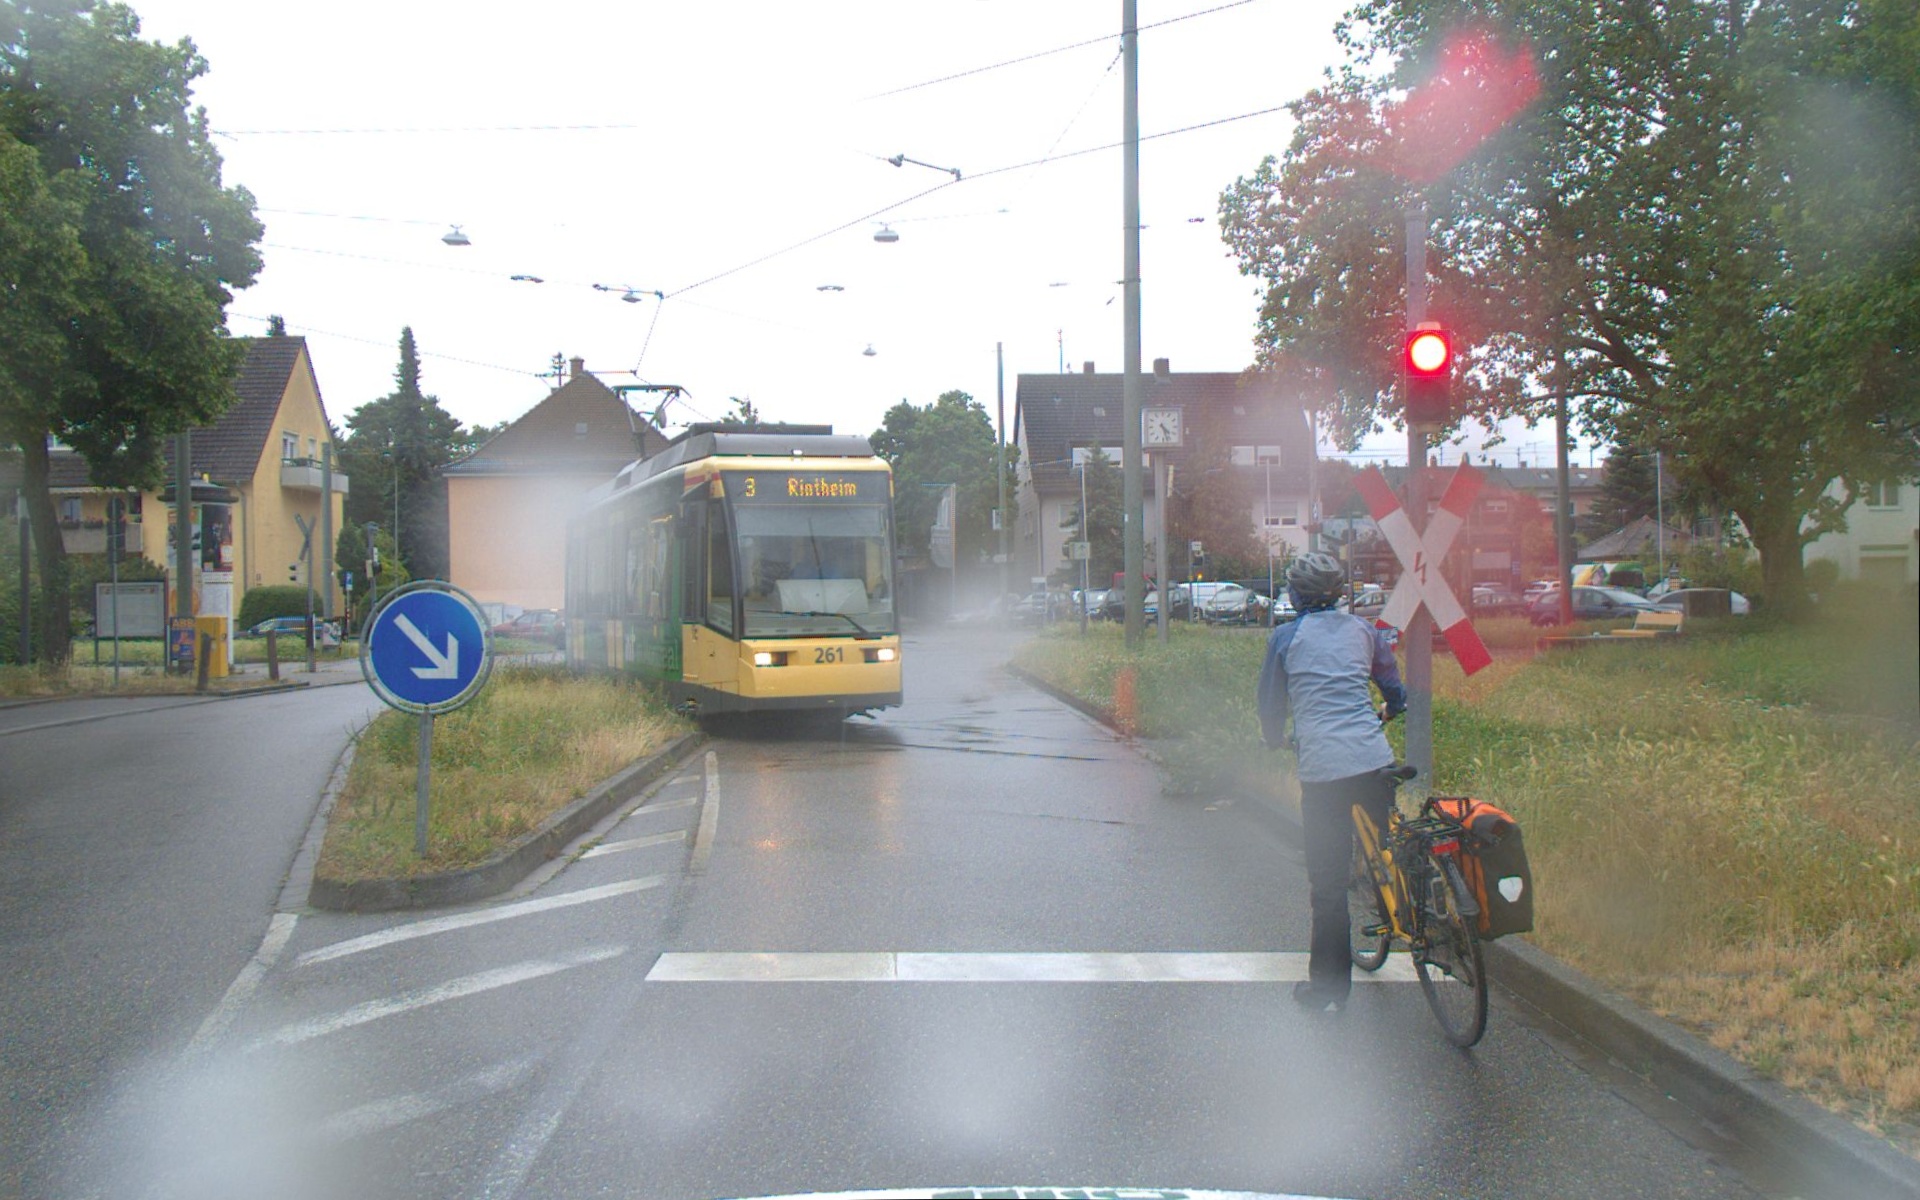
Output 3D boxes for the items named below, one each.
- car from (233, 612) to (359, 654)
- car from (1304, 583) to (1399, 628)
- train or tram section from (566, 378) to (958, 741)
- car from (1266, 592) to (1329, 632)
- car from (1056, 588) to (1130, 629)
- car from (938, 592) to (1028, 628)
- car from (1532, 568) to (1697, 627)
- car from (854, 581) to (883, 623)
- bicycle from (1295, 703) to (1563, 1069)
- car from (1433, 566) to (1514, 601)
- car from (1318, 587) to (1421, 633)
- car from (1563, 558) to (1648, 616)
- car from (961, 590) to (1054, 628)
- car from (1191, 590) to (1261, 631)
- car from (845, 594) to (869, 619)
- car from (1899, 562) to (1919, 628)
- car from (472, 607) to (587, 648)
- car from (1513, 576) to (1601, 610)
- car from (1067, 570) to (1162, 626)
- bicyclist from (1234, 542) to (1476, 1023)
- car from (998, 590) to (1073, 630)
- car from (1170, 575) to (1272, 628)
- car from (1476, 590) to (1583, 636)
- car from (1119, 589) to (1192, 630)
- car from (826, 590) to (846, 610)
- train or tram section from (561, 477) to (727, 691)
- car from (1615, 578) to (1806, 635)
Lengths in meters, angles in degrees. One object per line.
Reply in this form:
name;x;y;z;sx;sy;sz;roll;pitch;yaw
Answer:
car;-24.437;1.212;60.955;3.911;1.482;1.831;1;0;-7
car;18.096;0.237;76.540;3.907;1.985;1.999;1;-1;-3
train or tram section;-3.342;-0.357;22.680;2.719;3.615;12.133;-1;0;-19
car;14.564;0.526;71.176;1.804;1.668;3.997;1;0;24
car;5.805;0.377;71.602;1.954;1.668;3.997;1;0;24
car;1.130;0.484;79.934;3.956;1.672;1.974;1;-1;-37
car;17.924;-0.069;45.390;3.848;1.522;1.798;1;-1;43
car;-5.951;0.118;107.951;1.768;2.673;3.998;1;0;-3
bicycle;1.655;0.955;6.074;0.437;1.022;1.727;-1;0;-2
car;28.556;-0.895;92.064;3.904;1.822;2.000;1;-1;2
car;16.156;0.402;65.341;3.609;1.731;1.890;1;-1;0
car;28.828;-0.557;74.026;1.953;2.485;4.352;1;0;-2
car;2.228;0.418;76.883;3.956;1.705;1.974;1;-1;-37
car;11.403;0.468;70.738;1.954;1.668;3.997;1;0;24
car;-7.966;0.489;127.792;1.768;1.843;3.998;1;0;-3
car;28.143;-0.107;45.528;3.703;1.829;1.798;1;-1;43
car;-16.182;1.029;62.327;3.911;1.482;1.831;1;0;-7
car;31.068;-0.348;86.073;3.905;1.668;1.846;1;-1;-1
car;7.481;-0.106;79.910;4.301;2.610;2.001;1;-1;14
bicyclist;1.440;0.634;6.149;0.653;1.654;0.852;1;-1;-2
car;3.339;0.453;72.809;1.954;1.668;3.997;1;0;24
car;12.019;0.074;76.411;4.307;2.365;1.999;1;-1;-3
car;22.613;0.516;65.741;3.609;1.731;1.890;1;-1;0
car;8.349;0.414;70.472;1.954;1.668;3.997;1;0;24
car;-12.322;0.009;164.445;1.768;1.843;3.998;1;0;-3
train or tram section;-5.968;-0.278;30.731;2.714;3.615;4.970;-1;0;-14
car;18.473;0.156;40.860;3.902;1.308;1.847;1;0;6
